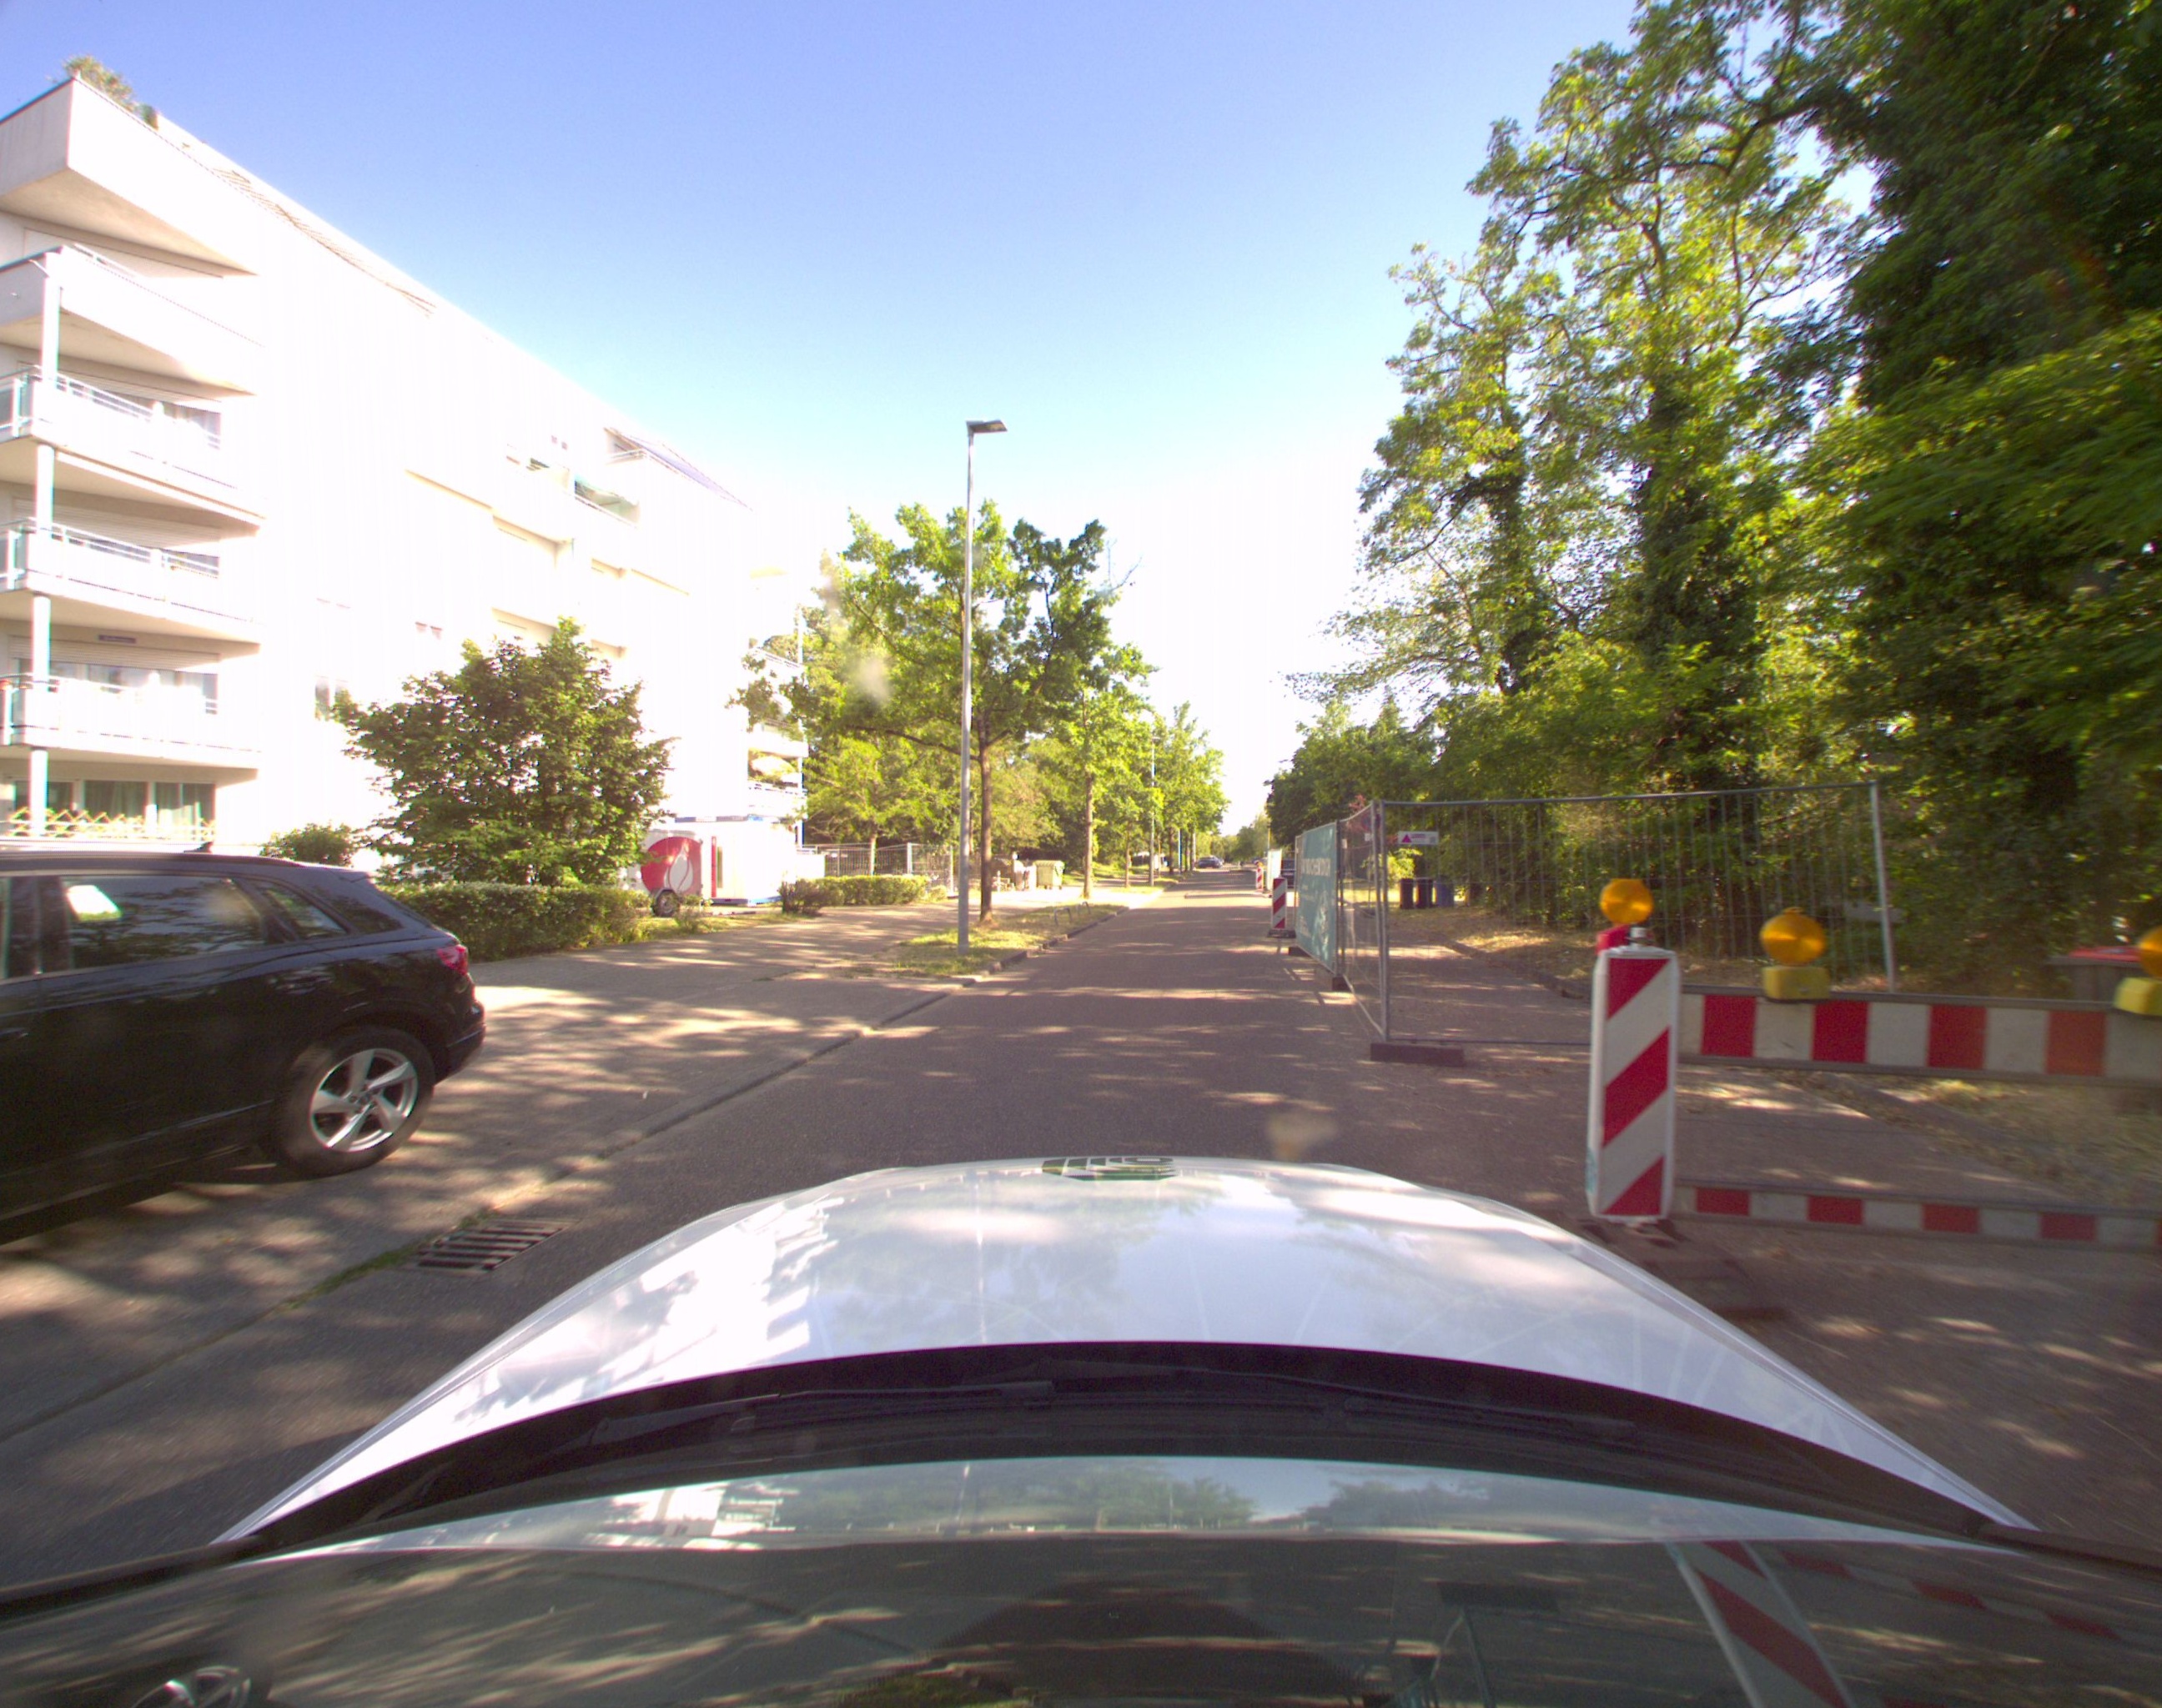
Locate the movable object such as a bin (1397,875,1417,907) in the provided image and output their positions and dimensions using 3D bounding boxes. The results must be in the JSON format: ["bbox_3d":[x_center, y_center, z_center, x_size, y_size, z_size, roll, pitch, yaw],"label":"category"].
[{"bbox_3d":[9.179,1.039,22.955,0.410,0.870,0.486,-2,-1,11],"label":"movable object such as a bin"}]

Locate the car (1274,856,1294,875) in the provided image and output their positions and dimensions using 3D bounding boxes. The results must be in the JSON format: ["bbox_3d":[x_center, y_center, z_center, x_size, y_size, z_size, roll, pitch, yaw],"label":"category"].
[{"bbox_3d":[19.261,1.088,77.383,1.612,1.773,3.680,1,0,11],"label":"car"}]

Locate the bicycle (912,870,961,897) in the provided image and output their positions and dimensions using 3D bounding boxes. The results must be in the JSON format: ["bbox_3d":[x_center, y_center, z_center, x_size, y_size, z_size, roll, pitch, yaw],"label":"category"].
[{"bbox_3d":[-5.624,1.160,31.795,1.833,1.027,0.400,0,-2,-2],"label":"bicycle"}]

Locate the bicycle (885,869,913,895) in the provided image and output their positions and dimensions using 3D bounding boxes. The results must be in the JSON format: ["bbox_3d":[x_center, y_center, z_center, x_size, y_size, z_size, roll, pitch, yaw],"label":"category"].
[{"bbox_3d":[-7.504,1.155,33.621,0.396,1.027,1.706,-1,-1,13],"label":"bicycle"}]

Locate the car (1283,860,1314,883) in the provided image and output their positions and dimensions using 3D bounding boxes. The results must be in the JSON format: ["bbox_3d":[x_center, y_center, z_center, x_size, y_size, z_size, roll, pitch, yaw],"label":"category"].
[{"bbox_3d":[14.170,1.122,53.264,1.651,1.375,4.167,1,0,11],"label":"car"}]

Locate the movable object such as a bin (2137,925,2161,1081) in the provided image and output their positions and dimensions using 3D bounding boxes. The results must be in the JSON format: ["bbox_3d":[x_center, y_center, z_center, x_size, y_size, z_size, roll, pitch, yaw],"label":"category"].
[{"bbox_3d":[6.251,0.836,4.353,0.481,0.861,0.561,0,-1,8],"label":"movable object such as a bin"}]

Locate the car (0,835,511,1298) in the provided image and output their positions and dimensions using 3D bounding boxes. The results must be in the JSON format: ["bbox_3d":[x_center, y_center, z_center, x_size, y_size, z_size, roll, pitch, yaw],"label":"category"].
[{"bbox_3d":[-4.678,0.733,2.909,1.764,1.621,4.233,1,0,11],"label":"car"}]

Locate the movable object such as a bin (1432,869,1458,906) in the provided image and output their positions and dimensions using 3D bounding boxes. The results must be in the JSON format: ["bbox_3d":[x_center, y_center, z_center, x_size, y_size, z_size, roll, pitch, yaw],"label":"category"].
[{"bbox_3d":[10.148,0.931,22.703,0.515,0.999,0.610,-2,-1,11],"label":"movable object such as a bin"}]

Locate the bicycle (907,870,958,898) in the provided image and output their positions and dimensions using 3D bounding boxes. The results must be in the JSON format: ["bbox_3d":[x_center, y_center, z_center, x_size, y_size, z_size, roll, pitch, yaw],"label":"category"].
[{"bbox_3d":[-5.618,1.145,30.882,1.833,1.027,0.400,0,-2,-2],"label":"bicycle"}]

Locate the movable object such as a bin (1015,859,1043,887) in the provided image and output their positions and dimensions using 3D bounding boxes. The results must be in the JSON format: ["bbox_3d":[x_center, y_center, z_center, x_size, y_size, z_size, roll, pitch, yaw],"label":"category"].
[{"bbox_3d":[-2.728,0.976,42.762,1.146,1.435,1.264,-1,-1,-23],"label":"movable object such as a bin"}]

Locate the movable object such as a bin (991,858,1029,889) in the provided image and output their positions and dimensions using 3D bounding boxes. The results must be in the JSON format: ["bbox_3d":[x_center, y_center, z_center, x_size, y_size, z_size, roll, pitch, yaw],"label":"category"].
[{"bbox_3d":[-3.488,0.947,39.994,1.257,1.435,1.334,-1,-1,39],"label":"movable object such as a bin"}]

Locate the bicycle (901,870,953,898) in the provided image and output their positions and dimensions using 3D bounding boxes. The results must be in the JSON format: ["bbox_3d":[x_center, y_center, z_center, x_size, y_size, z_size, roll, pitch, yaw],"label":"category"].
[{"bbox_3d":[-5.737,1.124,30.422,1.850,1.027,0.400,0,-2,-2],"label":"bicycle"}]

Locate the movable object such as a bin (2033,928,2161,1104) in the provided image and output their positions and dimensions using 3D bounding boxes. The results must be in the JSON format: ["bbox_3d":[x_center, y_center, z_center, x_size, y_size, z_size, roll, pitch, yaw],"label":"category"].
[{"bbox_3d":[5.774,0.859,4.456,0.481,0.861,0.561,0,-1,8],"label":"movable object such as a bin"}]

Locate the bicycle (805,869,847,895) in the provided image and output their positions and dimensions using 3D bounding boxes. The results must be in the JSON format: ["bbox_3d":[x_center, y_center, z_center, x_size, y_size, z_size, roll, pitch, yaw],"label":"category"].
[{"bbox_3d":[-10.348,1.149,33.057,1.682,1.027,0.402,-1,-2,16],"label":"bicycle"}]

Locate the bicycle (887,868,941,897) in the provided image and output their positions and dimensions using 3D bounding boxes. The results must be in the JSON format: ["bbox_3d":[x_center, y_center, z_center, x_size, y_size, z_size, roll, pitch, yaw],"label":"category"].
[{"bbox_3d":[-6.053,1.033,29.522,1.864,1.027,0.400,0,-2,-2],"label":"bicycle"}]

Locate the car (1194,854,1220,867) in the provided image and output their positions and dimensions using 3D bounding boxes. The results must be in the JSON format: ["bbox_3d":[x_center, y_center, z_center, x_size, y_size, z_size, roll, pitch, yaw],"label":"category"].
[{"bbox_3d":[26.041,1.325,168.351,5.173,2.621,2.297,1,0,6],"label":"car"}]

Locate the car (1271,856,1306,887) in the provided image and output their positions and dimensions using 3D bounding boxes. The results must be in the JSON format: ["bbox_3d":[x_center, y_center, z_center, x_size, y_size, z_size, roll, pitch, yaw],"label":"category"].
[{"bbox_3d":[11.936,0.952,46.741,1.797,1.651,4.438,1,0,15],"label":"car"}]

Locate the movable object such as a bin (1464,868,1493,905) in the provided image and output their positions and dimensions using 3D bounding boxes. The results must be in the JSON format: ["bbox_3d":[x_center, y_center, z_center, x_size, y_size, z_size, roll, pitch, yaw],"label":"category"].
[{"bbox_3d":[10.964,0.894,22.484,0.559,0.999,0.610,-2,-1,11],"label":"movable object such as a bin"}]

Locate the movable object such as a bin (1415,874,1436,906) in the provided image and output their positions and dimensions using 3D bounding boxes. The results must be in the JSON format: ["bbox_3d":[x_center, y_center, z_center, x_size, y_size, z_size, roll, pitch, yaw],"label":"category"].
[{"bbox_3d":[9.653,1.018,22.843,0.410,0.870,0.486,-2,-1,11],"label":"movable object such as a bin"}]

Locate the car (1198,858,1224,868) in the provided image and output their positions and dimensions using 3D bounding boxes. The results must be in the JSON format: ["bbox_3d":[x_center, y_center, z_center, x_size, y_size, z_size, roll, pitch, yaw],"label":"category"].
[{"bbox_3d":[22.843,1.595,143.173,4.284,1.576,2.055,1,0,17],"label":"car"}]

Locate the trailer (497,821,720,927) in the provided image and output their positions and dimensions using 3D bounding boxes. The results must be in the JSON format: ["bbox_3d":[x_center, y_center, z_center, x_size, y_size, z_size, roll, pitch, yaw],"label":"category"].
[{"bbox_3d":[-10.654,0.414,18.818,1.850,2.120,4.363,1,0,15],"label":"trailer"}]

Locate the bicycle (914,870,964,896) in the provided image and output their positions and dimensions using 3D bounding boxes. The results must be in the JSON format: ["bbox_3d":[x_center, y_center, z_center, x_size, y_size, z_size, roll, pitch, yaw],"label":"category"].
[{"bbox_3d":[-5.628,1.142,32.271,1.909,1.027,0.400,0,-2,-2],"label":"bicycle"}]

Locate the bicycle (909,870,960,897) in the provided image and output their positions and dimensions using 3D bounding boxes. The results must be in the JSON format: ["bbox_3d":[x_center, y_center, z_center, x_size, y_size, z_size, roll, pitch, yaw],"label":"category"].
[{"bbox_3d":[-5.634,1.139,31.367,1.854,1.027,0.400,0,-2,-2],"label":"bicycle"}]

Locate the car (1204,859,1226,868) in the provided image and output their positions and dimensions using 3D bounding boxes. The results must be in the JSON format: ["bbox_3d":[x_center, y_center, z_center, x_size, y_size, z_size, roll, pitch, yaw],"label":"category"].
[{"bbox_3d":[26.207,1.812,159.180,4.078,1.576,1.965,1,0,13],"label":"car"}]

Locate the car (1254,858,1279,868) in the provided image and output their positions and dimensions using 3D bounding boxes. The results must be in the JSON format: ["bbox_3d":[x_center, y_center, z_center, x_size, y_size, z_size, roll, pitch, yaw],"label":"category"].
[{"bbox_3d":[31.205,1.462,136.962,3.808,1.576,1.696,1,0,17],"label":"car"}]

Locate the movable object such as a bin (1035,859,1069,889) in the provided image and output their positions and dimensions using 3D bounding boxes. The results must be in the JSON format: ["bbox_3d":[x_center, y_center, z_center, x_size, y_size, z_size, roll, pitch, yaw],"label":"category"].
[{"bbox_3d":[-1.466,0.997,40.818,1.257,1.435,1.188,-1,-1,27],"label":"movable object such as a bin"}]
